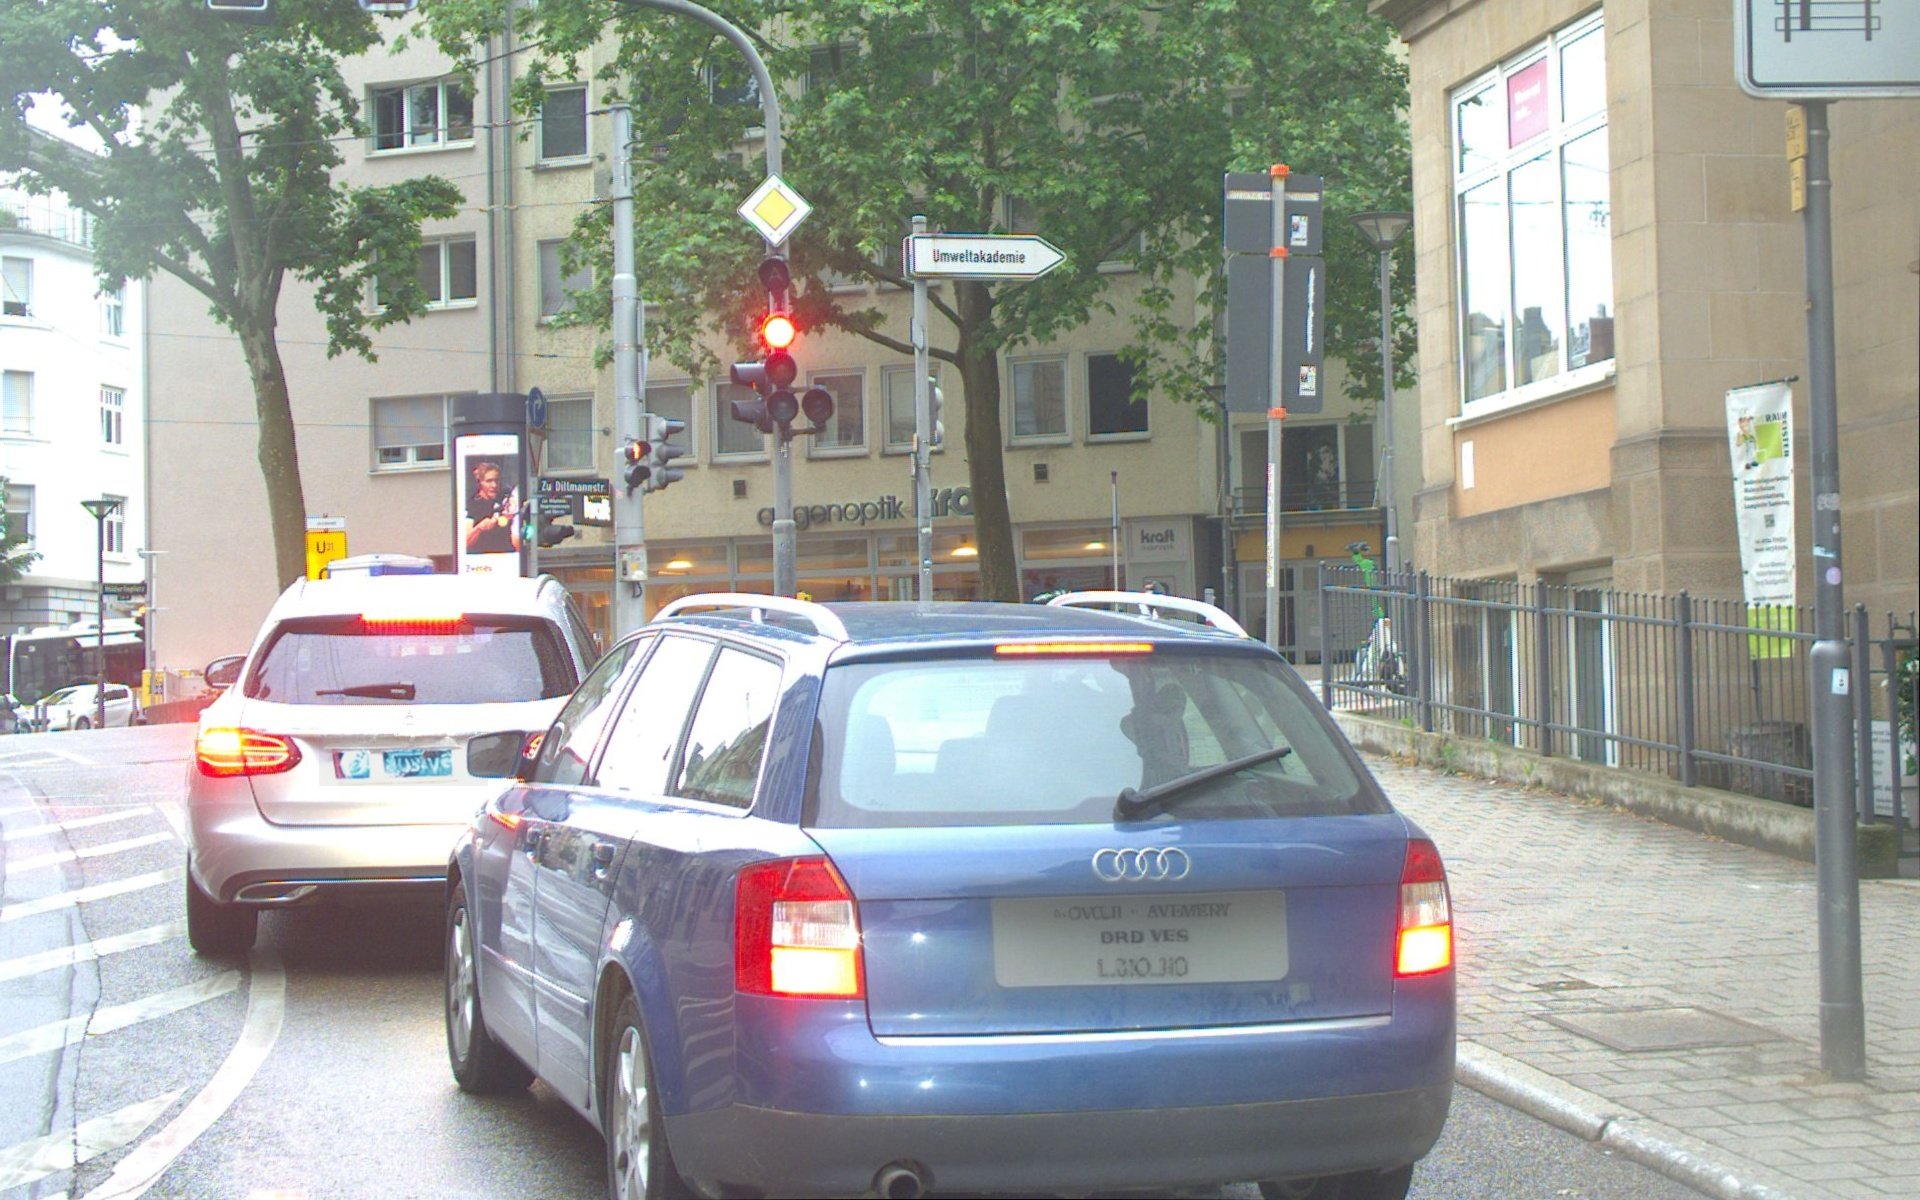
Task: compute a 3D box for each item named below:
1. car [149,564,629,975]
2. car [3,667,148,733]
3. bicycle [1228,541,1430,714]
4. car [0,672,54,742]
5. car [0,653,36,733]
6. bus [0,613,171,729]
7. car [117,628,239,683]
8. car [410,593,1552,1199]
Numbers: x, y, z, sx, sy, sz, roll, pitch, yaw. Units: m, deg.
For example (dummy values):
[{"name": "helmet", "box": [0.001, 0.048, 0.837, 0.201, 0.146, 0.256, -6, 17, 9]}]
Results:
[{"name": "car", "box": [-2.294, 0.588, 14.172, 1.710, 1.451, 3.554, 0, 1, -8]}, {"name": "car", "box": [-23.005, 2.597, 89.549, 1.796, 1.505, 3.997, -1, 1, 17]}, {"name": "bicycle", "box": [2.676, 0.191, 24.953, 1.300, 1.169, 0.526, -3, 1, -12]}, {"name": "car", "box": [-24.271, 2.687, 84.887, 1.796, 1.609, 3.997, -1, 1, 17]}, {"name": "car", "box": [-20.001, 1.932, 69.093, 1.794, 1.505, 4.000, -3, 1, -1]}, {"name": "bus", "box": [-25.289, 1.919, 95.585, 2.856, 2.851, 8.728, -1, 1, 14]}, {"name": "car", "box": [-23.563, 1.657, 103.724, 1.796, 1.505, 3.997, -1, 1, 17]}, {"name": "car", "box": [-0.231, 0.719, 8.492, 1.710, 1.410, 4.037, 0, 1, -17]}]
